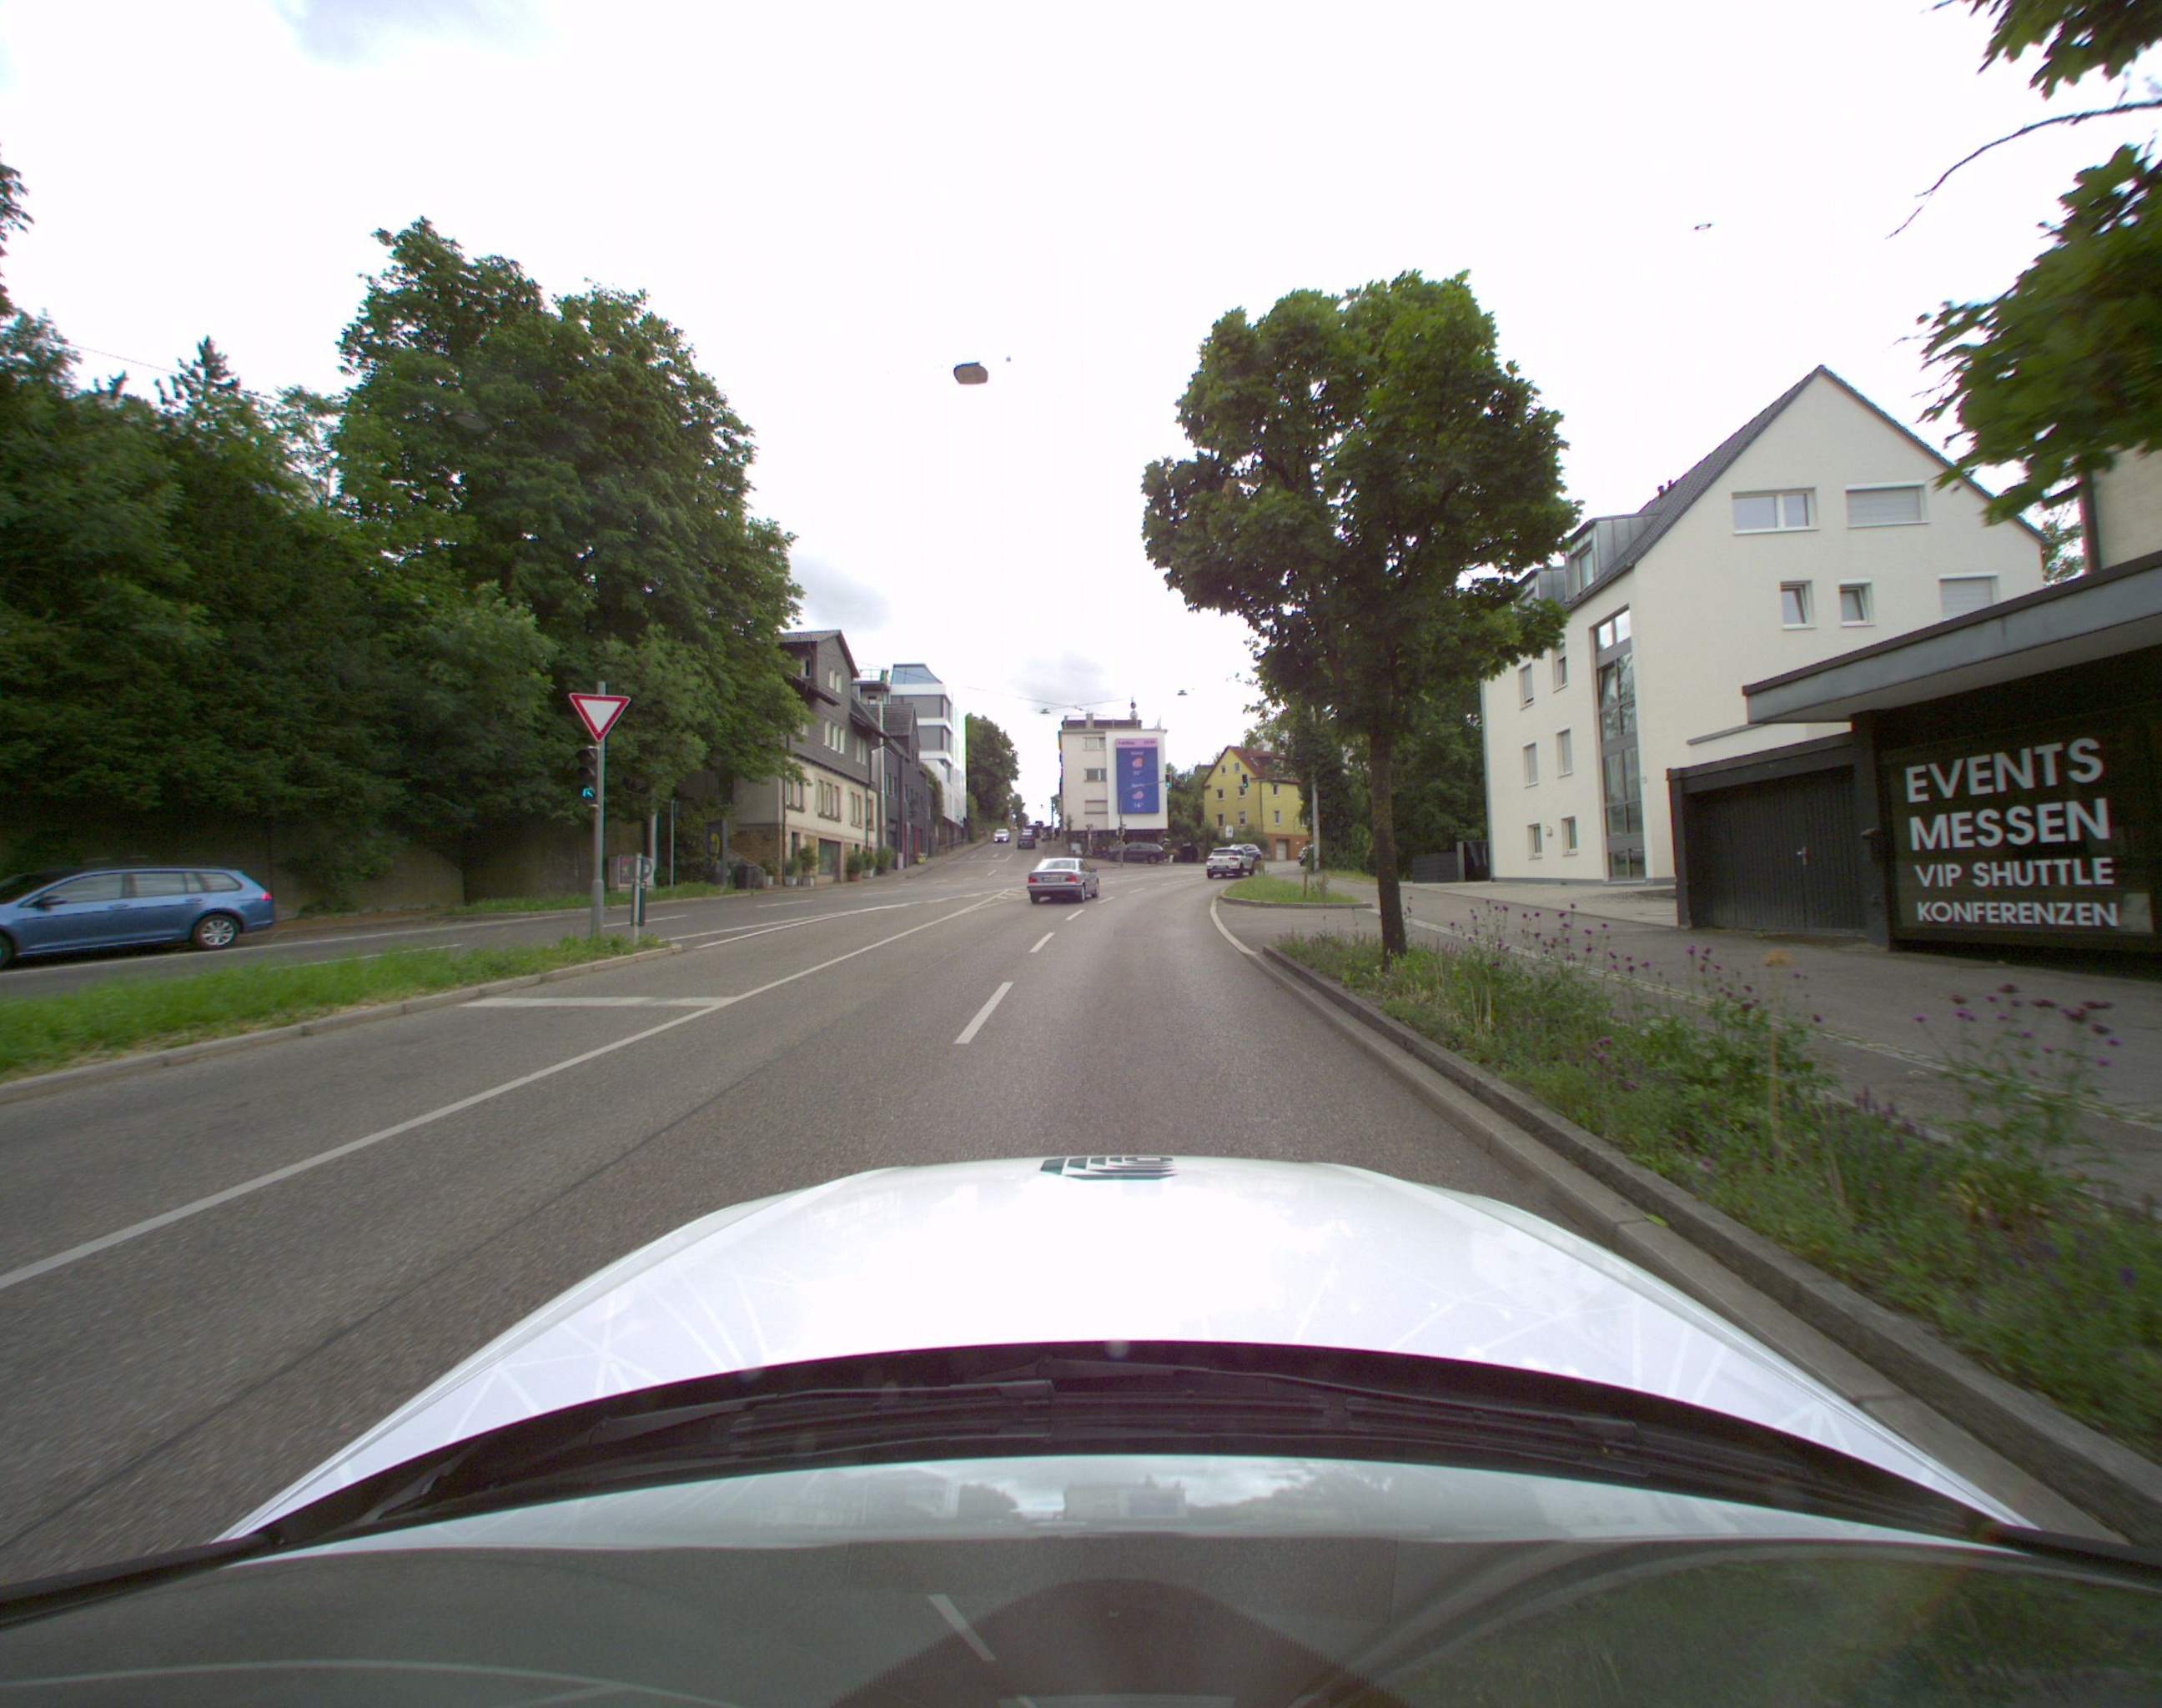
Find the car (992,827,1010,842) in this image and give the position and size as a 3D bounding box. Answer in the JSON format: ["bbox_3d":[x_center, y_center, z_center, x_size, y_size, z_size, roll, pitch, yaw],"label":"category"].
[{"bbox_3d":[-9.723,-2.374,98.929,1.878,1.567,4.387,-2,3,-2],"label":"car"}]

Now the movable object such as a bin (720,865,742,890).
[{"bbox_3d":[-14.644,0.987,34.075,0.573,1.019,0.649,-1,-2,16],"label":"movable object such as a bin"}]

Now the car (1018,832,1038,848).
[{"bbox_3d":[-5.425,-1.423,83.618,1.775,1.579,3.998,0,1,-1],"label":"car"}]

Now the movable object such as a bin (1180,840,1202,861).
[{"bbox_3d":[9.632,-0.293,71.278,1.751,1.779,1.861,-1,0,11],"label":"movable object such as a bin"}]

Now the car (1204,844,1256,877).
[{"bbox_3d":[7.840,0.300,42.572,1.764,1.579,4.022,-1,0,23],"label":"car"}]

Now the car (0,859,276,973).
[{"bbox_3d":[-15.849,0.892,12.800,1.701,1.528,4.314,0,1,10],"label":"car"}]

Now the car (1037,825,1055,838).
[{"bbox_3d":[-4.290,-2.778,101.134,2.083,1.613,3.999,-1,1,0],"label":"car"}]

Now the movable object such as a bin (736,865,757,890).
[{"bbox_3d":[-13.916,0.980,33.868,0.534,1.019,0.649,-1,-2,16],"label":"movable object such as a bin"}]

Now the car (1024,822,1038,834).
[{"bbox_3d":[-6.756,-3.530,110.562,1.789,1.465,3.998,0,1,-1],"label":"car"}]

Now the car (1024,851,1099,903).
[{"bbox_3d":[-0.531,0.666,25.946,1.696,1.464,4.010,0,1,9],"label":"car"}]

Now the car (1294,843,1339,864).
[{"bbox_3d":[16.385,-0.035,56.593,1.762,1.409,4.026,0,1,35],"label":"car"}]

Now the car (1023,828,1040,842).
[{"bbox_3d":[-5.821,-2.281,95.581,1.775,1.578,3.999,0,3,-1],"label":"car"}]

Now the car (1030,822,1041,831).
[{"bbox_3d":[-7.949,-4.829,141.947,1.775,1.579,3.999,-1,2,-1],"label":"car"}]

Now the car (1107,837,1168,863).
[{"bbox_3d":[4.550,-0.315,66.202,4.675,1.712,2.318,3,3,-2],"label":"car"}]

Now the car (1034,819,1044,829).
[{"bbox_3d":[-8.547,-6.129,167.301,1.988,2.013,3.998,0,1,-1],"label":"car"}]

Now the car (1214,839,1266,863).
[{"bbox_3d":[12.063,-0.223,61.571,1.878,1.695,4.374,-1,0,42],"label":"car"}]
